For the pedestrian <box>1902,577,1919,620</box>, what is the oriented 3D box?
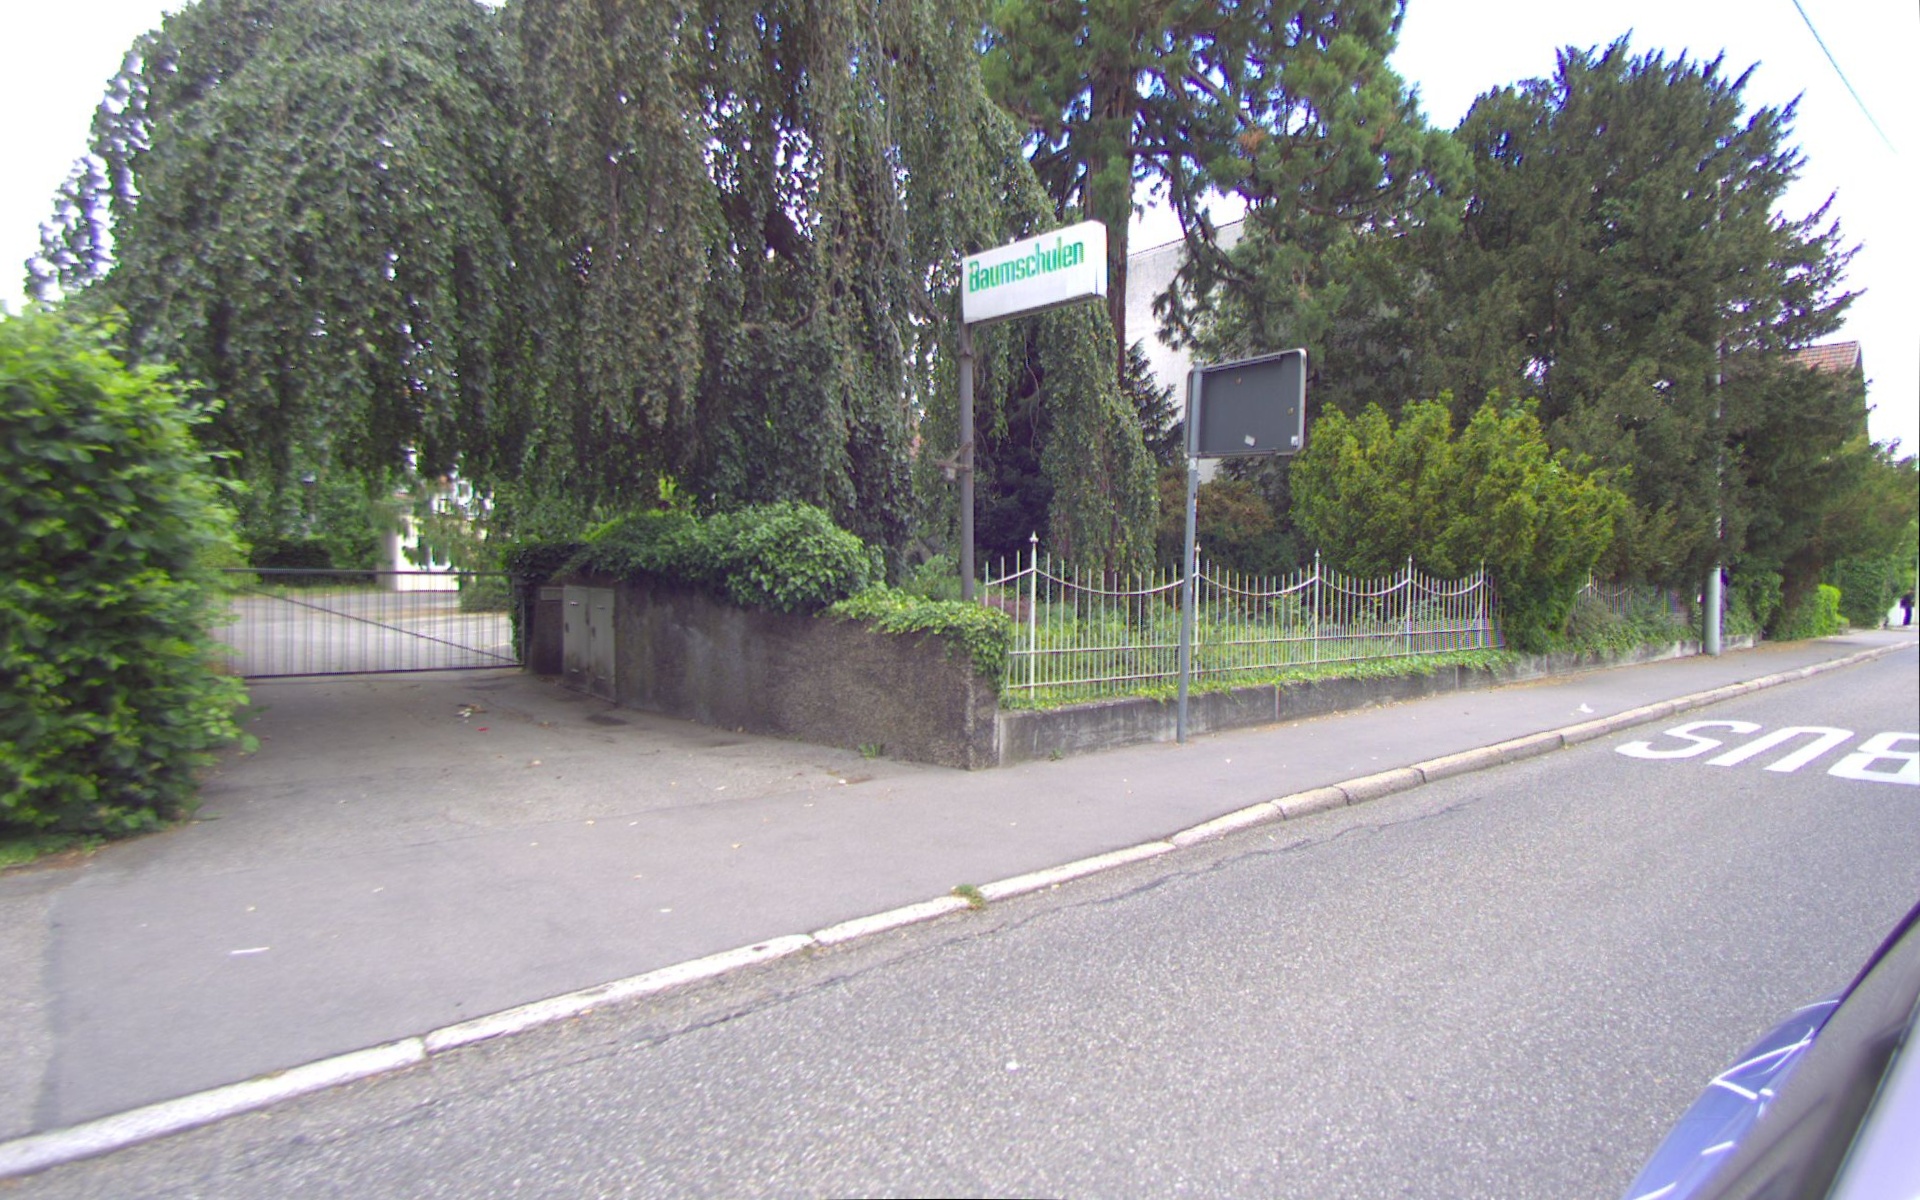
[{"bbox_3d":[39.521,-0.074,41.881,0.657,1.789,0.491,-1,0,-9],"label":"pedestrian"}]
